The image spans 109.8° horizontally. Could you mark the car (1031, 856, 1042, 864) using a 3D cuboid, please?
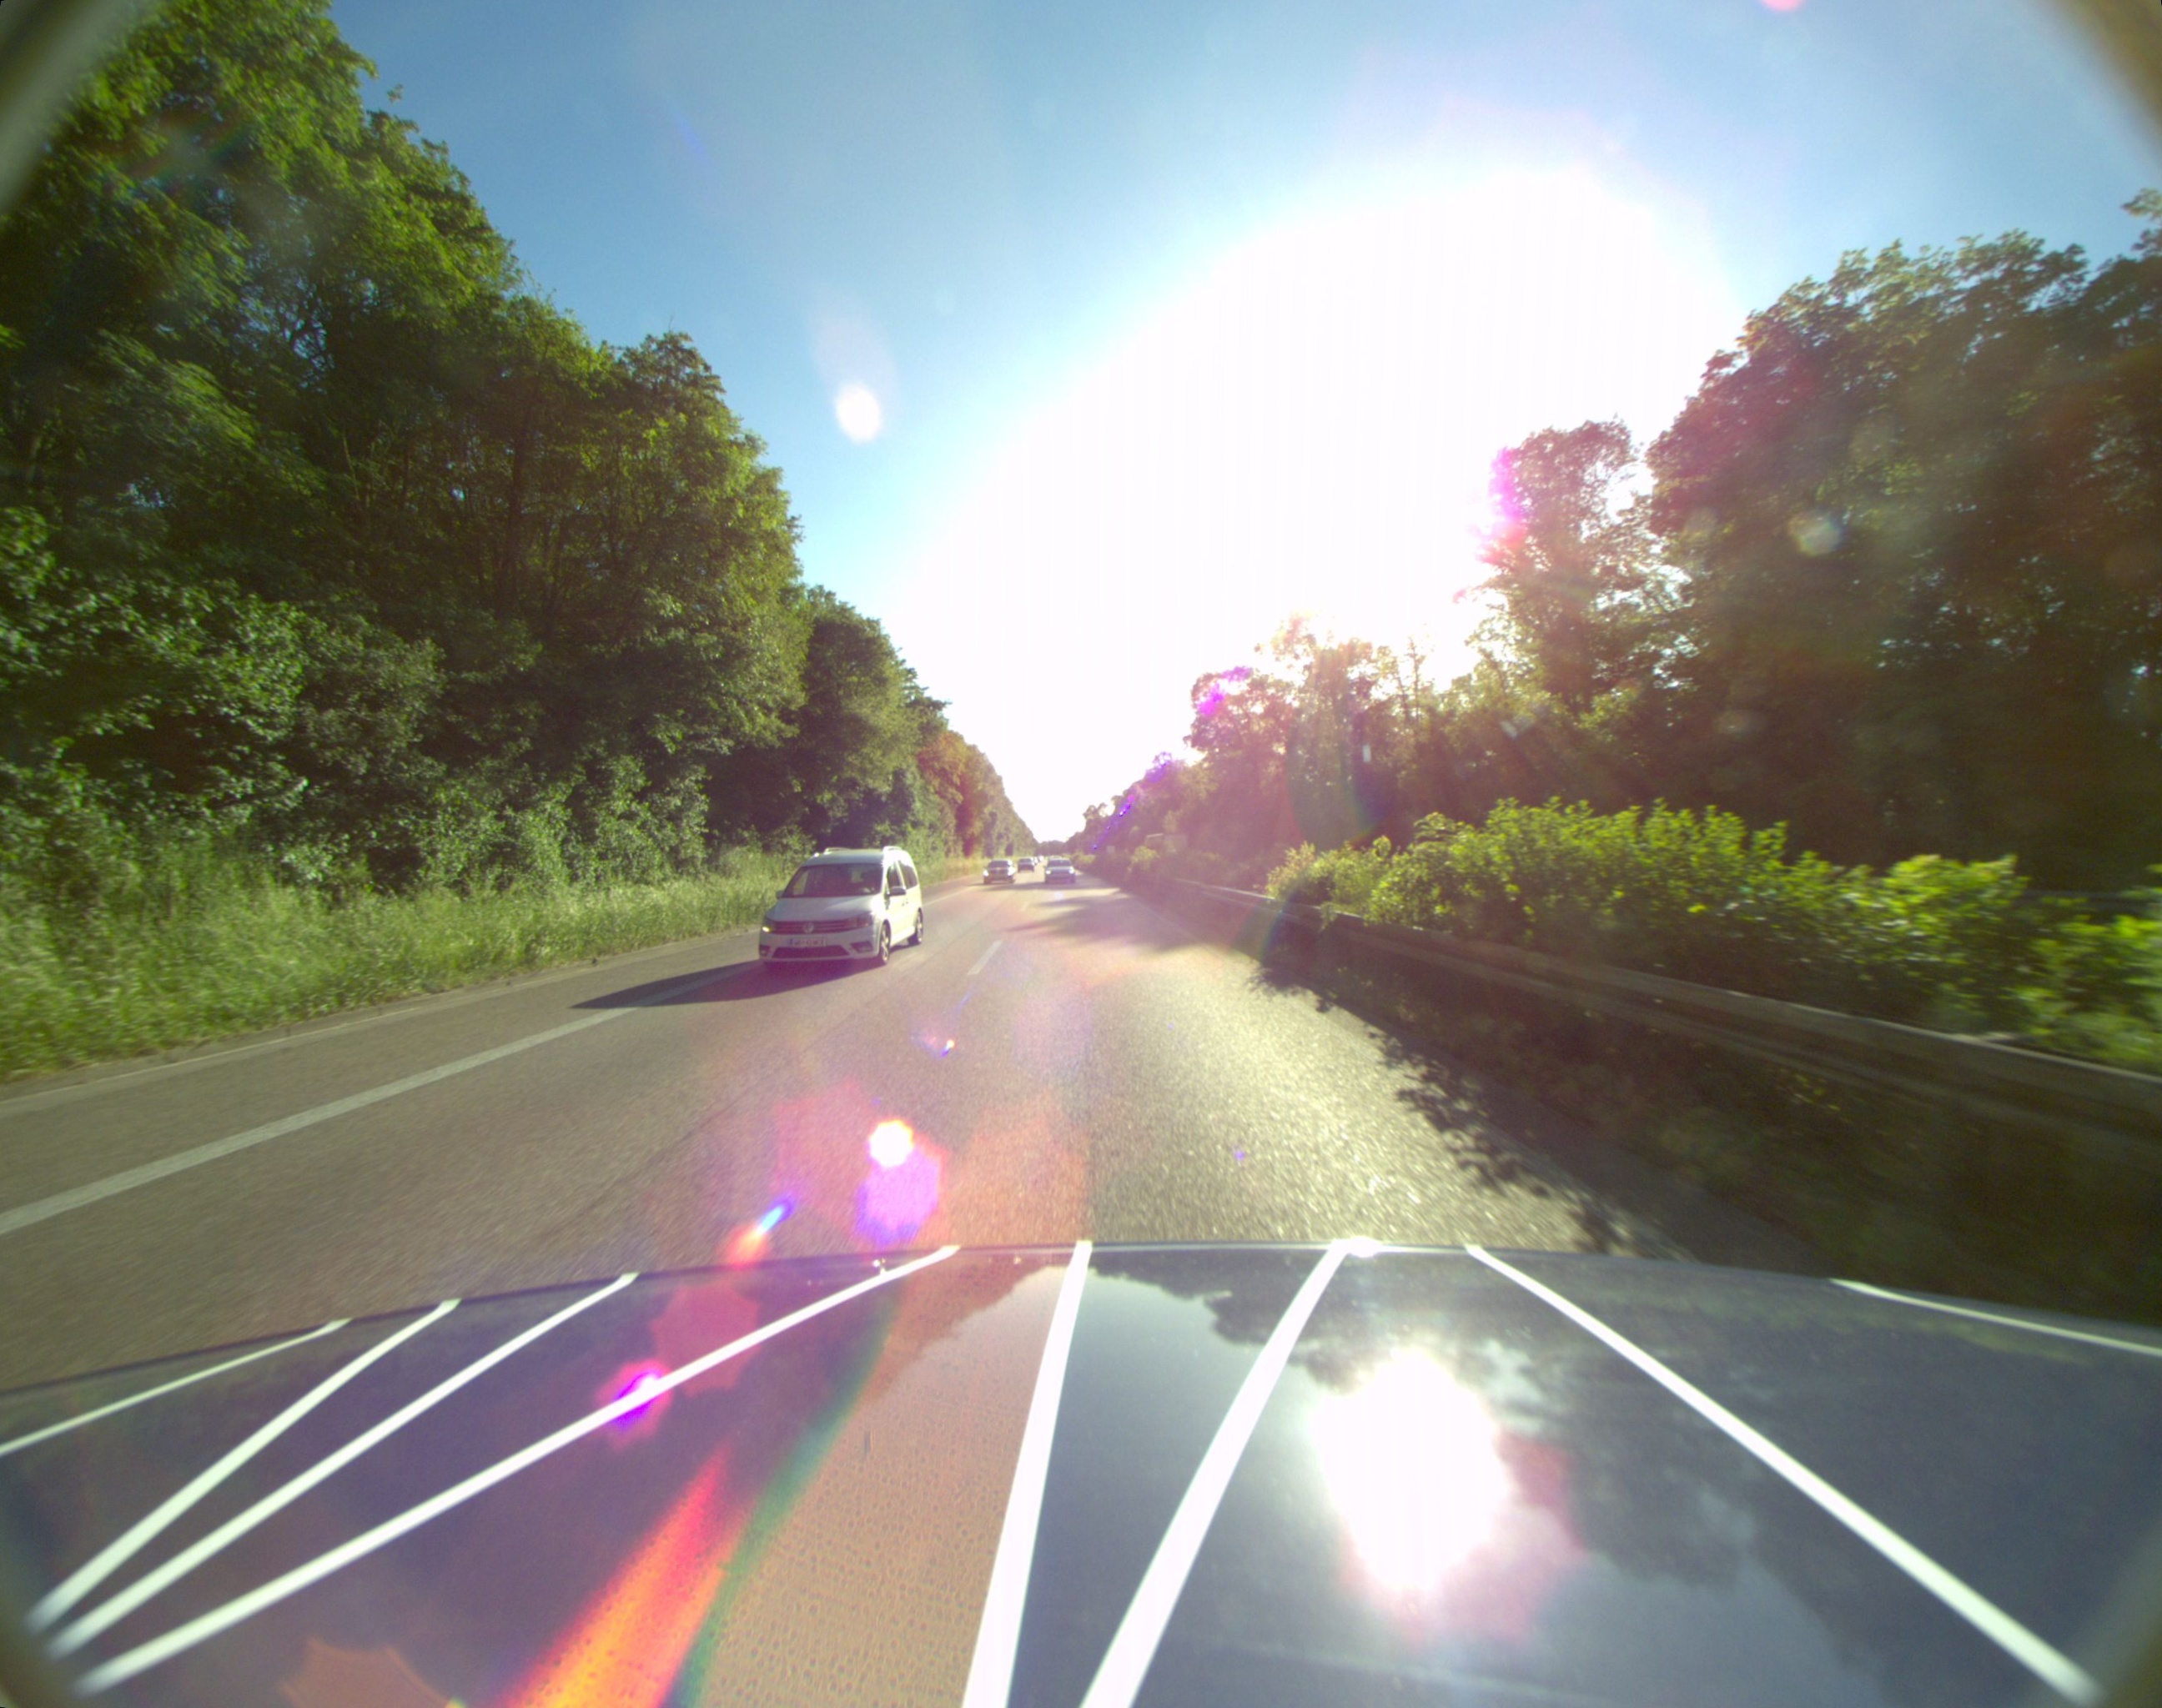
[{"bbox_3d":[-8.048,1.075,137.730,1.795,1.440,3.876,-2,0,-3],"label":"car"}]

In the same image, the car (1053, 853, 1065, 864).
[{"bbox_3d":[-3.477,0.705,119.595,1.915,1.561,4.323,-2,1,-2],"label":"car"}]

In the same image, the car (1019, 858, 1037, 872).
[{"bbox_3d":[-5.617,1.143,80.952,1.795,1.440,3.876,-2,0,-3],"label":"car"}]

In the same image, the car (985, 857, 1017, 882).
[{"bbox_3d":[-4.955,0.956,47.440,1.795,1.440,3.876,-2,0,-3],"label":"car"}]

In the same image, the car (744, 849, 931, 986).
[{"bbox_3d":[-3.812,0.859,12.783,1.804,1.802,4.586,-2,1,-3],"label":"car"}]

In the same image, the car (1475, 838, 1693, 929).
[{"bbox_3d":[11.817,0.602,18.347,1.999,1.850,4.708,-2,1,-2],"label":"car"}]

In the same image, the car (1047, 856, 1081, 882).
[{"bbox_3d":[-1.051,0.855,45.579,1.890,1.440,3.877,-2,0,-2],"label":"car"}]

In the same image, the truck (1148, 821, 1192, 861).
[{"bbox_3d":[9.754,-1.427,84.995,2.715,4.073,14.017,-2,1,-2],"label":"truck"}]

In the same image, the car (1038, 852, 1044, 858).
[{"bbox_3d":[-11.294,0.310,214.787,1.795,1.440,3.876,-2,0,-3],"label":"car"}]
